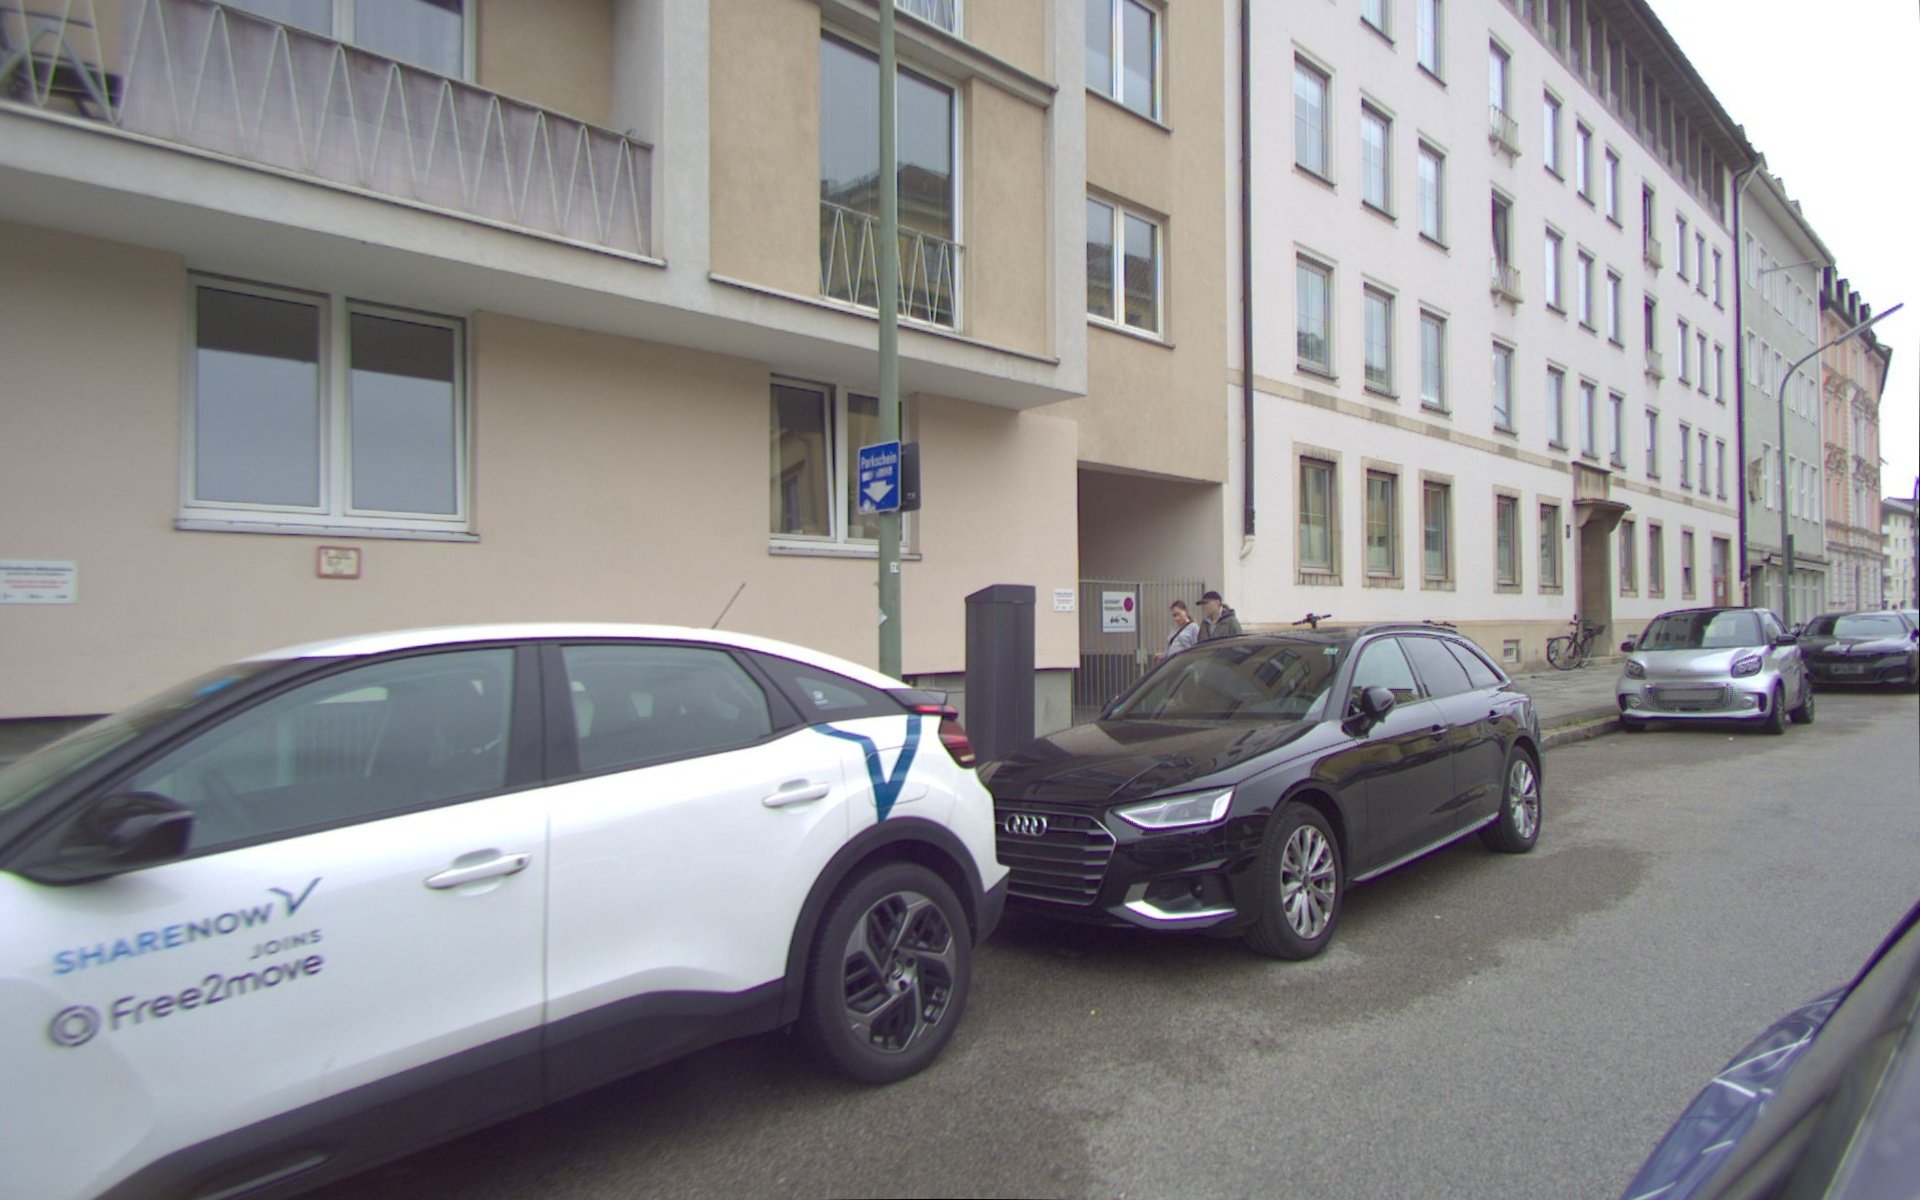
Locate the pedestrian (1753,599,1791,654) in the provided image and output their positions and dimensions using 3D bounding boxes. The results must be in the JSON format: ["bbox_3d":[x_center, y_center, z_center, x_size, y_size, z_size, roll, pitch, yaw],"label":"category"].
[{"bbox_3d":[24.625,0.791,30.690,0.813,1.646,0.735,1,0,-40],"label":"pedestrian"}]

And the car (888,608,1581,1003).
[{"bbox_3d":[1.877,0.825,5.914,4.407,1.439,1.797,0,-4,-43],"label":"car"}]

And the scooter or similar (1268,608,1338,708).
[{"bbox_3d":[4.849,0.791,14.277,0.598,1.267,1.024,1,3,40],"label":"scooter or similar"}]

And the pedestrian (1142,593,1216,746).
[{"bbox_3d":[2.405,0.736,11.126,0.550,1.604,0.532,1,1,-41],"label":"pedestrian"}]

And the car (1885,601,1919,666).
[{"bbox_3d":[25.423,0.839,26.030,4.252,1.605,1.781,1,-3,-39],"label":"car"}]

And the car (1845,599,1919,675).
[{"bbox_3d":[21.672,0.804,22.927,4.196,1.605,1.781,1,-3,-40],"label":"car"}]

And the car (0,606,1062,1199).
[{"bbox_3d":[-1.745,0.827,3.032,4.148,1.519,1.740,0,-4,-43],"label":"car"}]

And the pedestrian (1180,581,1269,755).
[{"bbox_3d":[2.672,0.658,10.230,0.619,1.675,0.597,1,1,-41],"label":"pedestrian"}]

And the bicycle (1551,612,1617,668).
[{"bbox_3d":[13.430,0.839,21.762,1.993,1.140,0.660,0,0,-41],"label":"bicycle"}]

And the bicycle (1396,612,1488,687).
[{"bbox_3d":[8.143,0.800,17.049,1.993,1.178,0.660,0,0,-41],"label":"bicycle"}]

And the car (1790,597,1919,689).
[{"bbox_3d":[17.573,0.767,19.406,4.734,1.564,1.857,0,-3,-43],"label":"car"}]

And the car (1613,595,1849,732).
[{"bbox_3d":[10.289,0.788,13.415,3.813,1.555,1.674,1,-4,-41],"label":"car"}]
